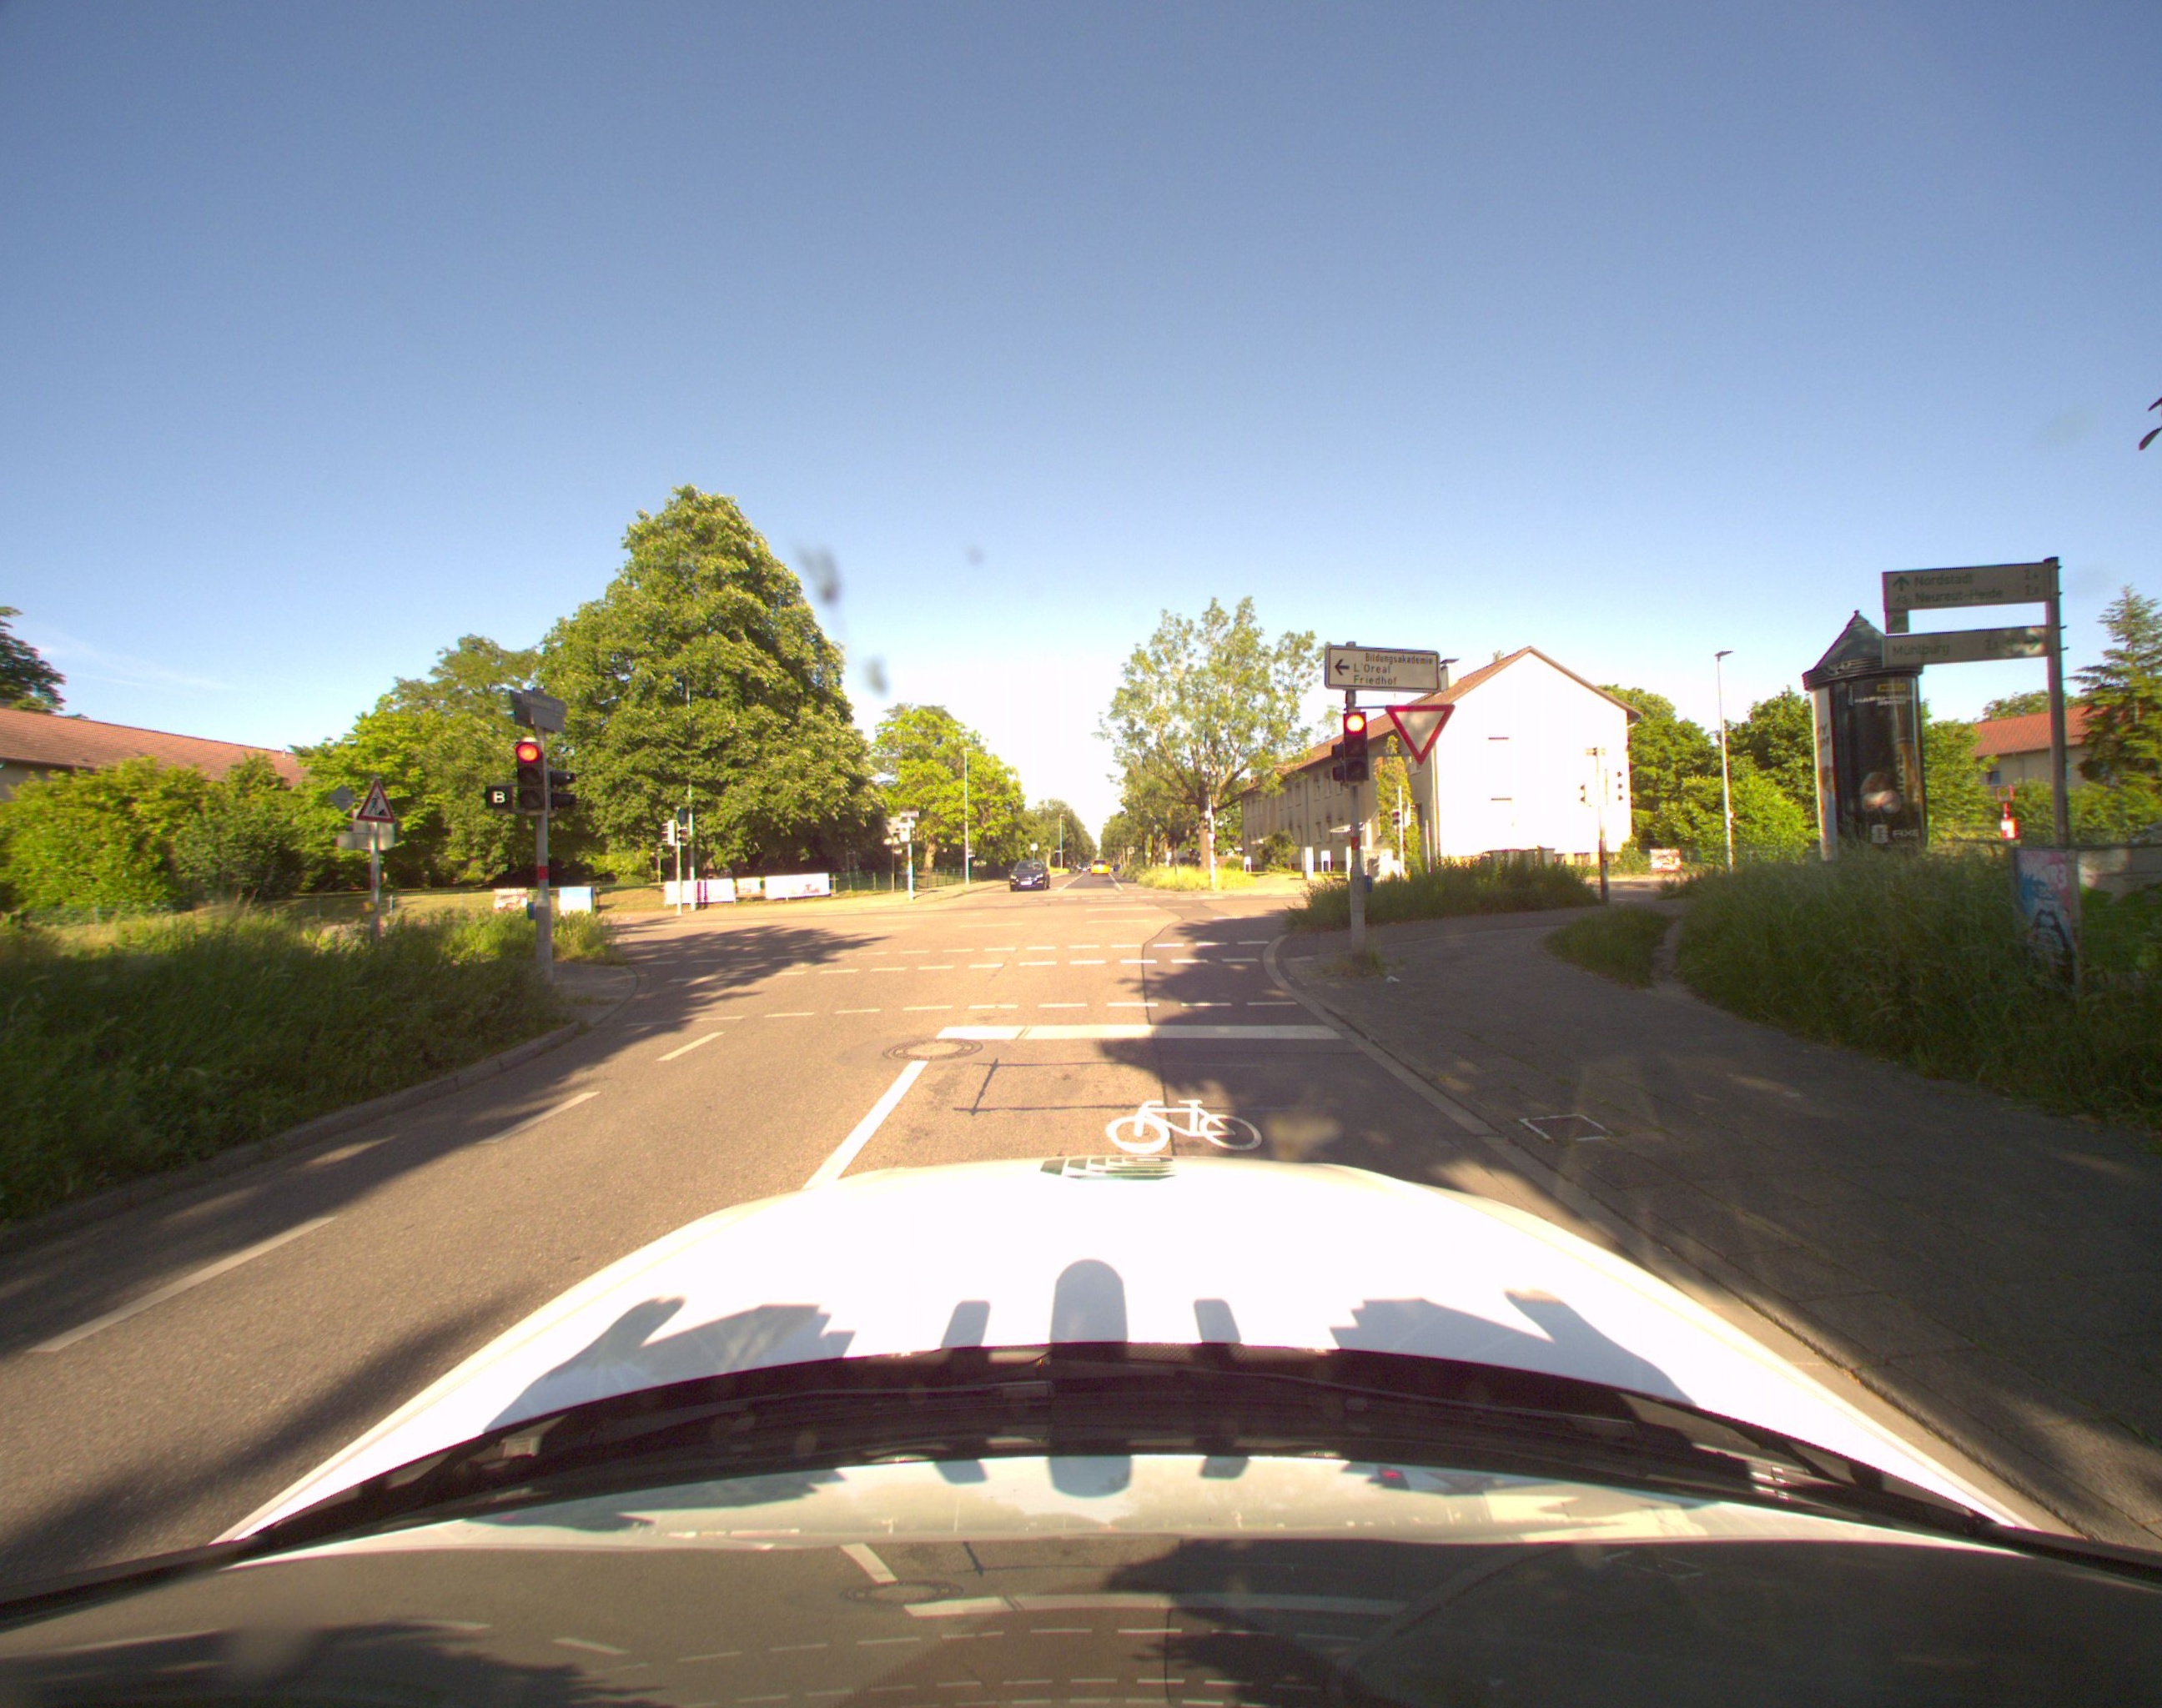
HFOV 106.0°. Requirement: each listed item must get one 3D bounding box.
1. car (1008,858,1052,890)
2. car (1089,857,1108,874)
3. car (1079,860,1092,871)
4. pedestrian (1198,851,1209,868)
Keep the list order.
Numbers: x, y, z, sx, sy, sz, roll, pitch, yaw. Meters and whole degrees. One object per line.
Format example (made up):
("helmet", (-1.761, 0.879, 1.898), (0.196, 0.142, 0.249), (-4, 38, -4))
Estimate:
("car", (-2.378, 0.921, 38.819), (1.704, 1.385, 3.473), (-2, 0, 3))
("car", (1.729, 1.090, 78.314), (1.745, 1.582, 4.002), (-1, -1, 2))
("car", (0.636, 1.772, 123.364), (1.751, 1.624, 3.271), (-2, 0, 3))
("pedestrian", (10.552, 0.478, 70.324), (0.839, 1.493, 0.924), (1, 0, 1))
